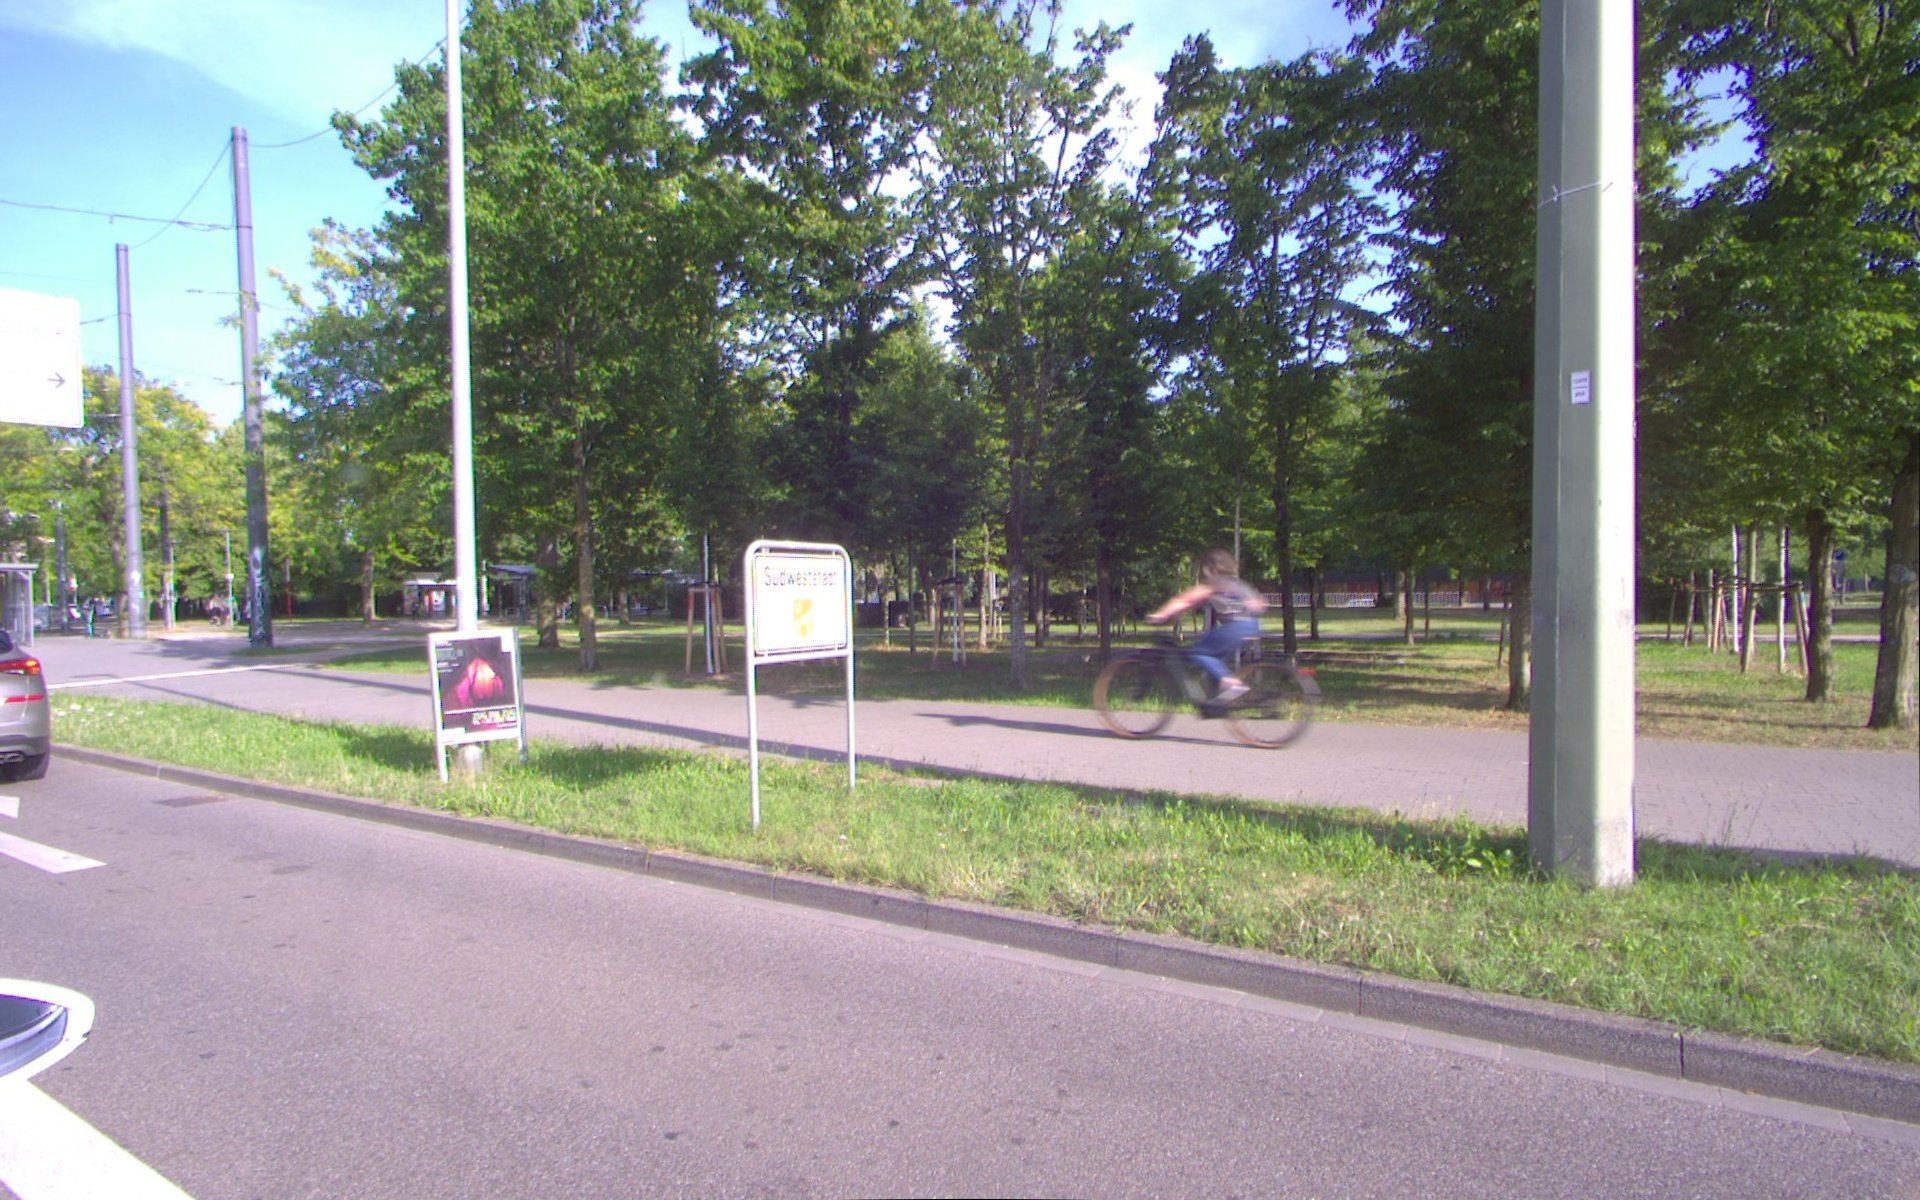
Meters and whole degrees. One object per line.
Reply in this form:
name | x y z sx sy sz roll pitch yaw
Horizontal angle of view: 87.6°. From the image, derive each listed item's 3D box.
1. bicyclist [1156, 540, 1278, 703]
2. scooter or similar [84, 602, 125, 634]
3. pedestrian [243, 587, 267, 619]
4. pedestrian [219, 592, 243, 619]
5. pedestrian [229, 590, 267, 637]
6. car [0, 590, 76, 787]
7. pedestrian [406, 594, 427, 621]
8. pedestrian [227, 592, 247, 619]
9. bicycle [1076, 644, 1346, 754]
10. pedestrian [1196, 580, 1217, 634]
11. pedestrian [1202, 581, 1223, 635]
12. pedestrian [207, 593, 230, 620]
bicyclist | 2.132 0.170 8.313 0.856 1.279 0.533 0 2 32
scooter or similar | -31.433 0.666 36.787 1.305 1.132 0.420 -1 1 13
pedestrian | -40.242 0.188 57.124 0.826 1.809 0.798 0 1 28
pedestrian | -41.085 0.310 56.438 0.688 1.508 0.813 0 1 22
pedestrian | -25.296 0.465 35.568 0.793 1.659 0.754 -1 1 -7
car | -9.935 0.777 9.112 3.595 1.673 1.880 0 1 32
pedestrian | -32.869 0.450 60.594 0.792 1.659 0.832 0 1 38
pedestrian | -39.981 0.303 55.393 0.804 1.508 0.696 -2 1 -33
bicycle | 2.052 0.786 8.375 2.137 0.767 0.494 0 2 33
pedestrian | 8.392 0.236 34.100 0.617 1.836 0.502 -1 1 6
pedestrian | 8.770 0.276 34.843 0.617 1.836 0.502 -1 1 3
pedestrian | -41.021 0.356 55.411 0.687 1.508 0.815 -1 1 -9
